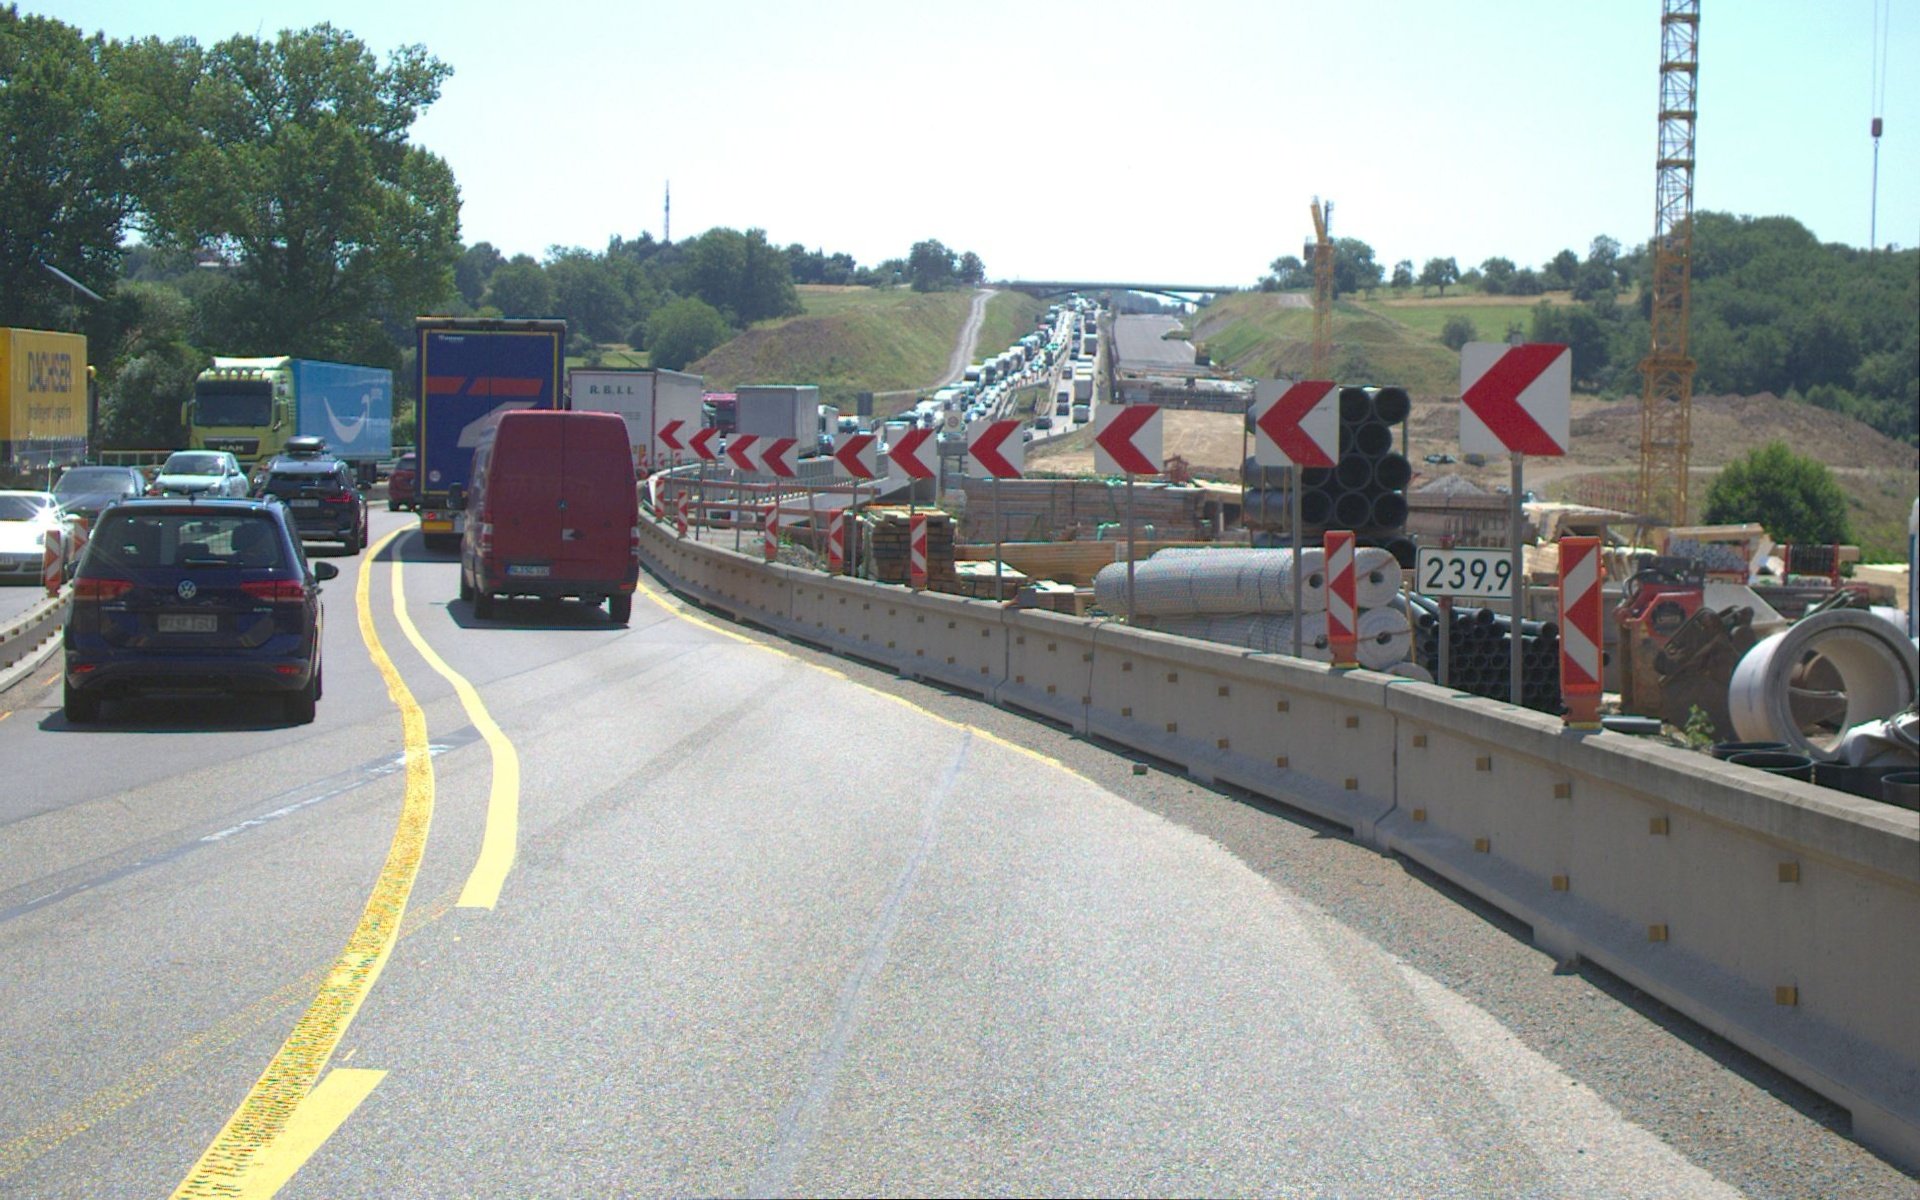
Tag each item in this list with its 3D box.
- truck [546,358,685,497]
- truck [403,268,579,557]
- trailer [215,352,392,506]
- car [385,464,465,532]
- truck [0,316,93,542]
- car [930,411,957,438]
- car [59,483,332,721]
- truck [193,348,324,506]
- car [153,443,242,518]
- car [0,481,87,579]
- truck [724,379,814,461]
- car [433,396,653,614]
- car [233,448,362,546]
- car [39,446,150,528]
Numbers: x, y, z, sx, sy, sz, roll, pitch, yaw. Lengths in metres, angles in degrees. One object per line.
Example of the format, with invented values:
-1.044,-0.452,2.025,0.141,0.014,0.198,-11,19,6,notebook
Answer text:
-10.274,-5.166,103.216,3.182,3.975,6.742,1,3,2,truck
-8.507,-3.389,62.822,2.944,4.928,6.744,1,3,-7,truck
-19.794,-5.105,104.482,2.647,4.277,13.310,2,2,0,trailer
-13.455,-2.578,86.681,1.833,1.629,4.107,1,2,-7,car
-19.950,-3.390,67.839,2.806,4.327,15.379,1,2,-4,truck
-1.062,-11.312,221.442,1.618,1.694,3.890,2,3,1,car
-5.724,-0.054,26.150,1.733,1.629,4.391,1,2,-9,car
-19.884,-4.881,97.708,2.625,4.255,4.732,2,2,0,truck
-16.784,-2.663,75.768,1.636,1.480,4.002,1,4,-9,car
-13.659,-1.047,49.840,1.676,1.260,4.338,1,3,-11,car
-8.392,-7.913,151.913,3.183,2.967,8.899,1,-1,2,truck
-5.472,-1.244,44.455,2.149,2.602,5.441,1,2,-14,car
-11.676,-1.812,60.811,1.833,1.630,4.390,1,1,-6,car
-15.585,-2.068,62.077,1.676,1.357,4.505,1,3,-11,car
